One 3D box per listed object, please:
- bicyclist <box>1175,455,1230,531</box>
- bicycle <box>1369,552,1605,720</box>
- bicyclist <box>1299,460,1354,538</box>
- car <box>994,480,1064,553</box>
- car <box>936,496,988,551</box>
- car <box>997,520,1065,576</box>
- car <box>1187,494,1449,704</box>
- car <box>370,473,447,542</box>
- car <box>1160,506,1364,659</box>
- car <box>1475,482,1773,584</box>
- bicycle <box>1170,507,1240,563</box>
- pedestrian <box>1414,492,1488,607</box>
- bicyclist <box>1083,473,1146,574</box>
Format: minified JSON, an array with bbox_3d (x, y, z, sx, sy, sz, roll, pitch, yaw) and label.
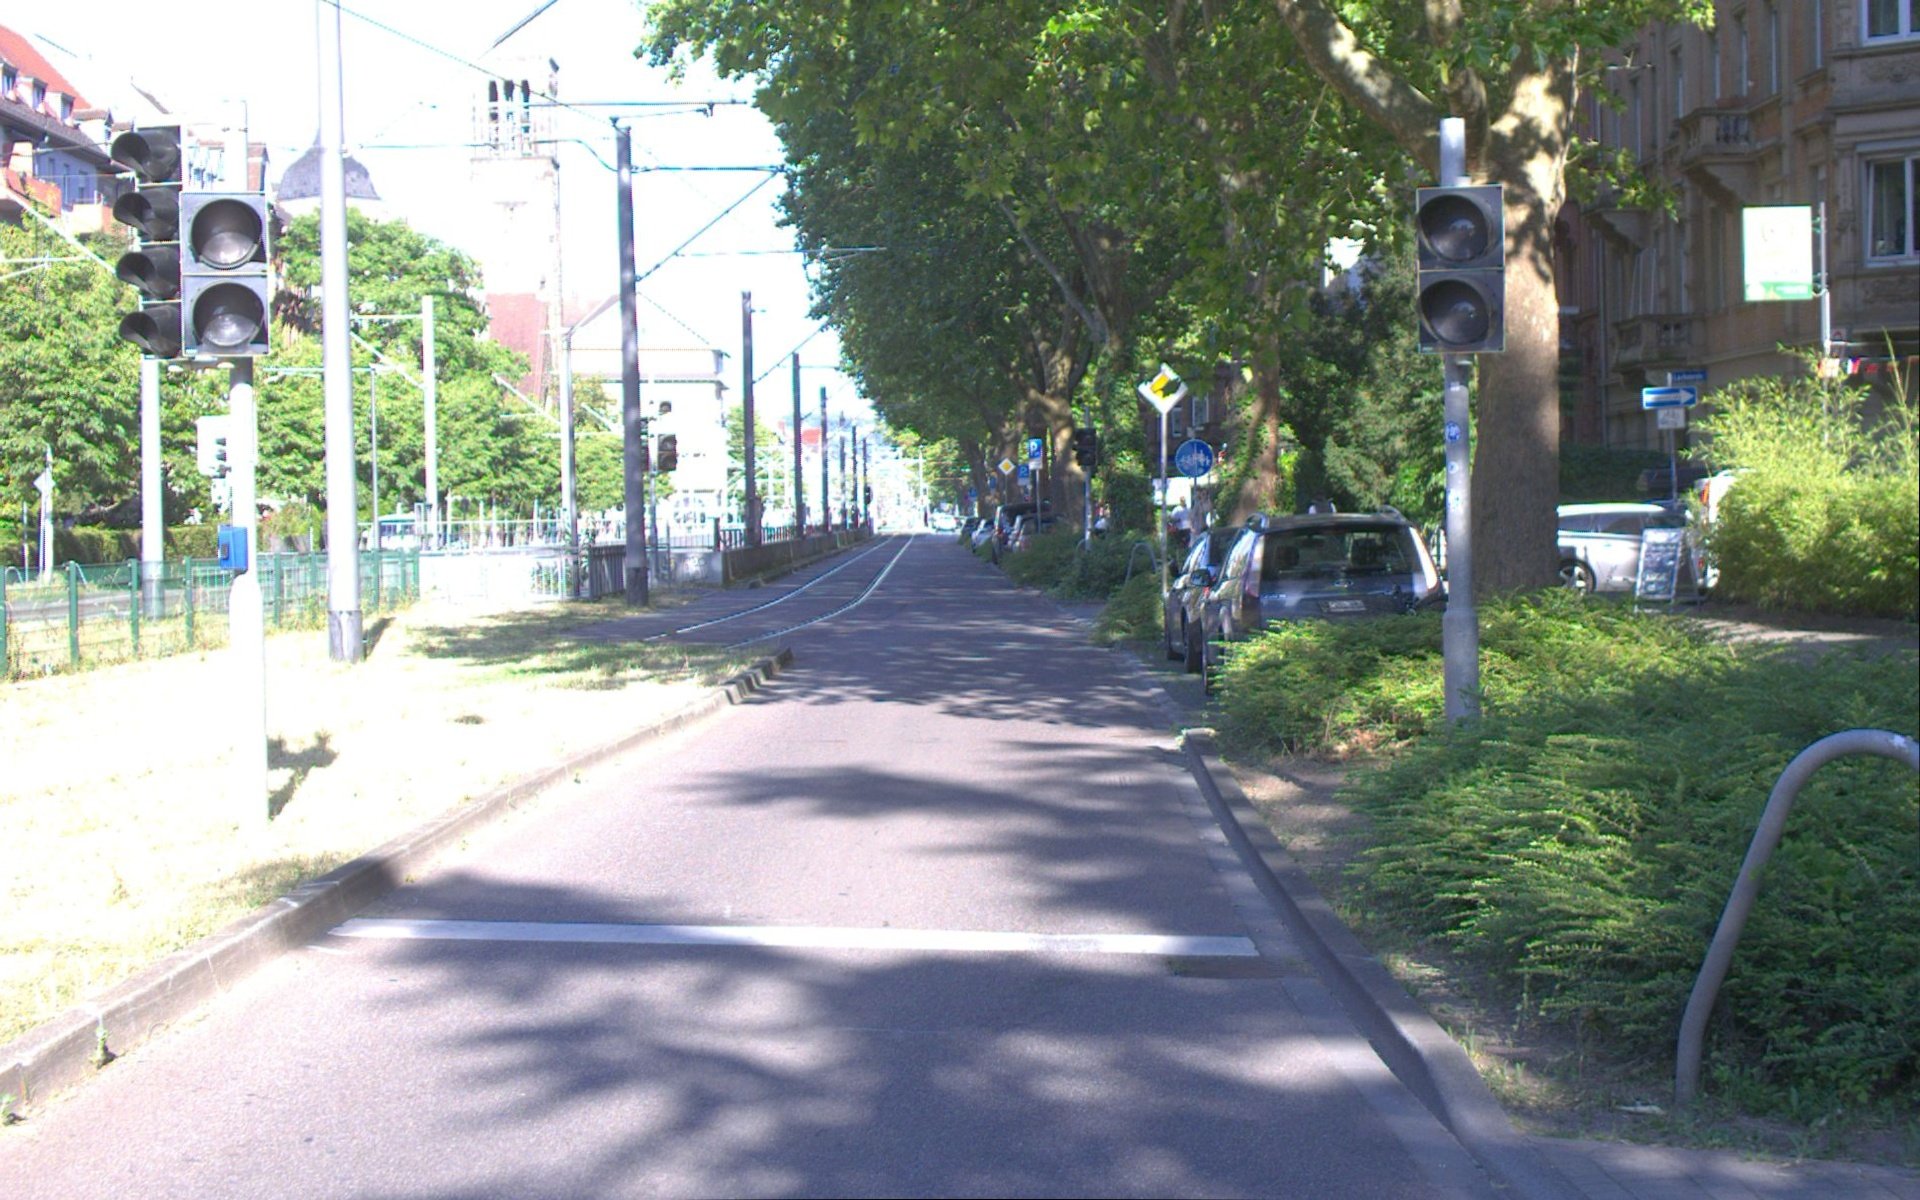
[{"bbox_3d":[4.684,-2.080,66.488,0.813,1.400,1.081,-2,4,-9],"label":"bicyclist"},{"bbox_3d":[3.617,0.234,23.550,1.596,1.022,0.542,-4,5,-29],"label":"bicycle"},{"bbox_3d":[6.848,-1.899,64.243,0.813,1.400,0.825,-2,4,-9],"label":"bicyclist"},{"bbox_3d":[2.077,-2.514,104.515,1.993,2.100,4.000,1,0,0],"label":"car"},{"bbox_3d":[0.077,-3.027,137.058,1.993,2.100,4.000,1,0,0],"label":"car"},{"bbox_3d":[1.966,-1.436,95.711,1.794,1.505,4.000,1,1,0],"label":"car"},{"bbox_3d":[2.783,-0.070,27.491,1.643,1.506,4.183,-2,2,0],"label":"car"},{"bbox_3d":[-17.735,-3.001,110.733,1.993,2.006,4.001,-2,4,-3],"label":"car"},{"bbox_3d":[2.936,-0.222,34.103,1.643,1.368,4.183,-2,2,0],"label":"car"},{"bbox_3d":[9.889,-1.010,51.409,3.986,1.415,2.000,-1,2,-3],"label":"car"},{"bbox_3d":[4.720,-1.264,66.428,0.813,0.953,2.318,-2,4,-9],"label":"bicycle"},{"bbox_3d":[7.575,-0.792,53.056,0.813,1.683,1.081,-2,4,-9],"label":"pedestrian"},{"bbox_3d":[2.963,-1.473,66.056,1.141,1.884,0.682,-2,4,0],"label":"bicyclist"}]
